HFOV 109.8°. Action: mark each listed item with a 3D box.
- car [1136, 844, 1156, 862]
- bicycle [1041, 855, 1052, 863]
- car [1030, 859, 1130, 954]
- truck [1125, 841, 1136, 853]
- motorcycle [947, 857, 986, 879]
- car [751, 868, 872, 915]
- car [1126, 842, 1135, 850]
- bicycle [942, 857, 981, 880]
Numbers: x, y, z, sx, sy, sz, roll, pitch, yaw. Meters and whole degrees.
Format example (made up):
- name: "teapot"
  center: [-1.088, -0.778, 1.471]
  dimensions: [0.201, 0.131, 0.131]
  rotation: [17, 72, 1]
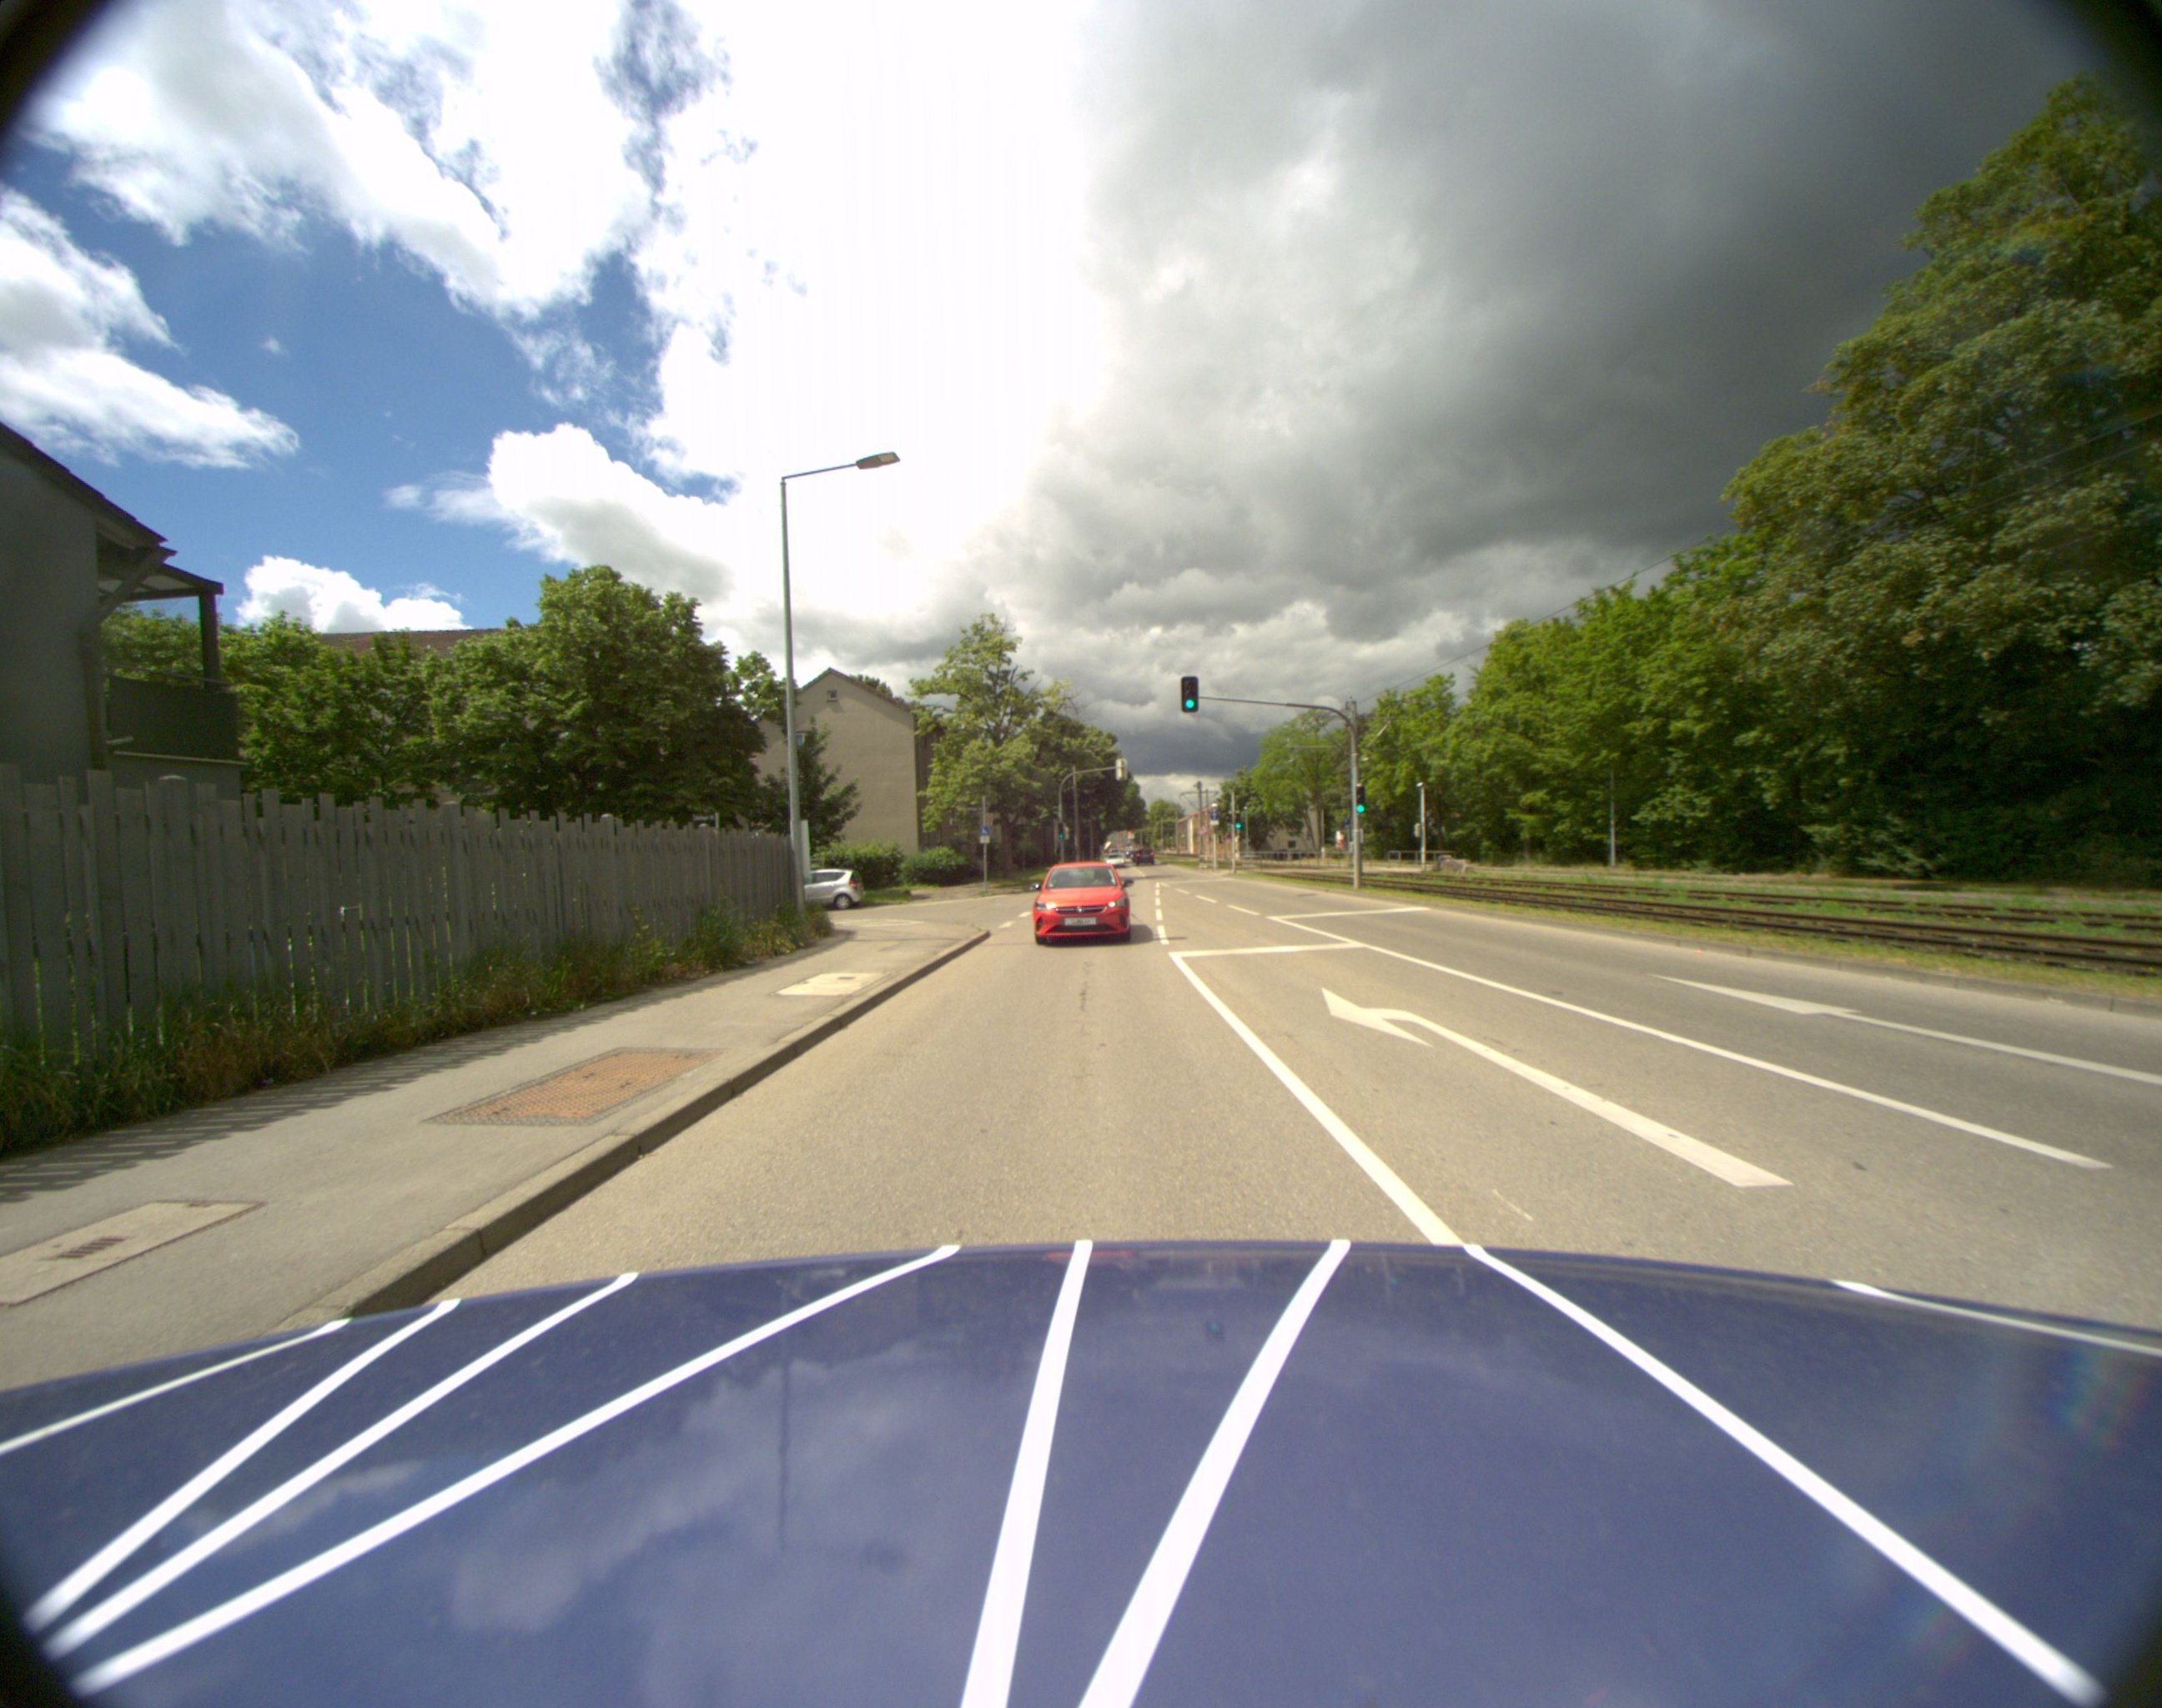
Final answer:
- name: "car"
  center: [6.608, -0.138, 77.465]
  dimensions: [1.711, 1.666, 4.228]
  rotation: [-4, 1, 1]
- name: "bicycle"
  center: [-4.351, 0.632, 95.751]
  dimensions: [0.437, 1.074, 1.750]
  rotation: [-5, 2, -33]
- name: "car"
  center: [0.054, 0.895, 14.660]
  dimensions: [1.665, 1.513, 3.786]
  rotation: [1, 1, 2]
- name: "truck"
  center: [11.665, -1.662, 178.518]
  dimensions: [2.096, 2.723, 5.096]
  rotation: [-4, 1, 0]
- name: "motorcycle"
  center: [-6.994, 0.854, 46.348]
  dimensions: [2.208, 1.275, 0.681]
  rotation: [-2, 2, 11]
- name: "car"
  center: [-10.442, 1.436, 29.679]
  dimensions: [3.999, 1.545, 1.938]
  rotation: [-3, 0, -5]
- name: "car"
  center: [9.069, -1.437, 138.589]
  dimensions: [1.585, 1.477, 3.807]
  rotation: [-3, 0, 4]
- name: "bicycle"
  center: [-7.168, 0.867, 45.583]
  dimensions: [2.170, 1.275, 0.681]
  rotation: [-2, 2, 11]
